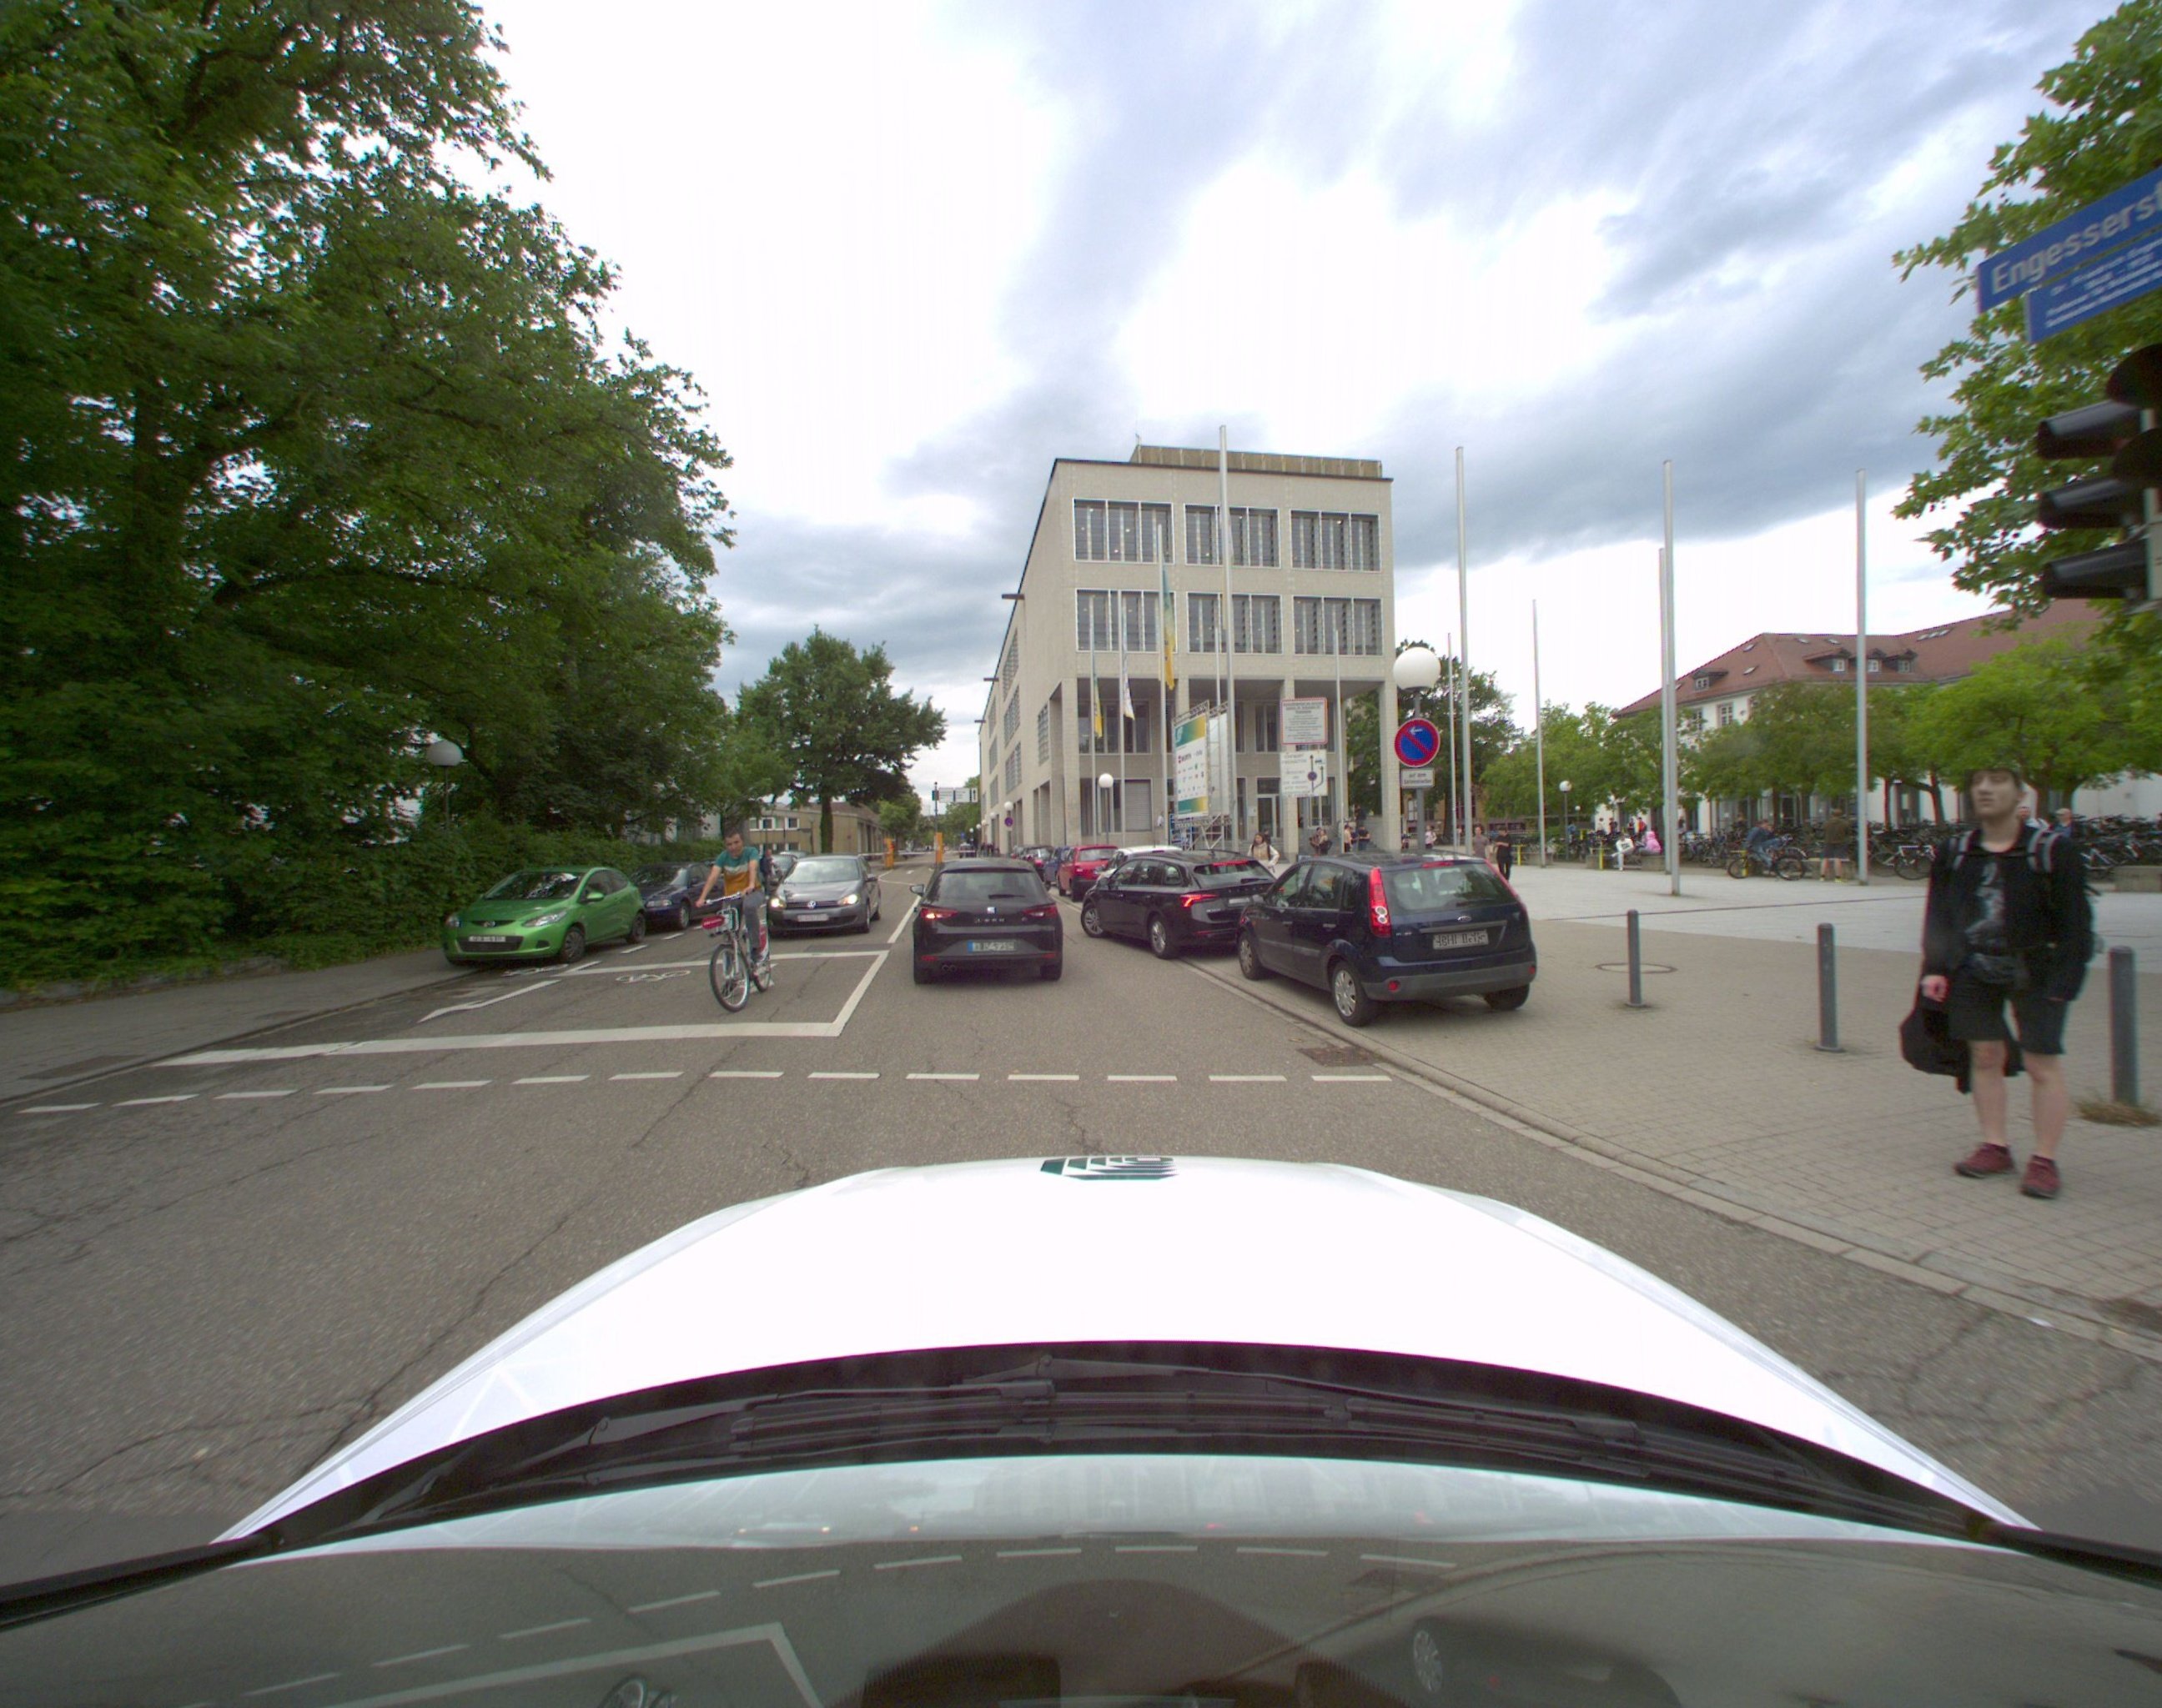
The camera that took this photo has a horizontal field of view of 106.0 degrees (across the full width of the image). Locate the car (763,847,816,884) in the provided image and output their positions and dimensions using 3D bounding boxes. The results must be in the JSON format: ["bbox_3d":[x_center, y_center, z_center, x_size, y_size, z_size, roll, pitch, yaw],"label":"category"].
[{"bbox_3d":[-13.592,0.475,38.185,1.716,1.586,3.864,-1,1,-10],"label":"car"}]

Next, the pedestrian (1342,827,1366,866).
[{"bbox_3d":[12.437,-0.344,37.124,0.722,1.785,0.731,-2,0,-23],"label":"pedestrian"}]

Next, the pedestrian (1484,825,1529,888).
[{"bbox_3d":[11.982,0.051,22.946,0.697,1.712,0.900,-3,4,-34],"label":"pedestrian"}]

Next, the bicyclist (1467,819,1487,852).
[{"bbox_3d":[20.164,-0.952,41.476,0.865,1.641,0.873,0,1,25],"label":"bicyclist"}]

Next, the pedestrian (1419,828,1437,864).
[{"bbox_3d":[16.025,-0.385,37.606,0.728,1.640,0.937,1,3,25],"label":"pedestrian"}]

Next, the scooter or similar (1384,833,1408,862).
[{"bbox_3d":[15.825,-0.337,40.895,1.499,1.369,0.401,-2,3,-38],"label":"scooter or similar"}]

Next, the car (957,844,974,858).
[{"bbox_3d":[-14.583,-0.403,102.619,1.993,1.622,4.414,-3,1,-10],"label":"car"}]

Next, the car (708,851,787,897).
[{"bbox_3d":[-11.826,0.654,29.121,1.762,1.471,3.812,-2,1,-10],"label":"car"}]

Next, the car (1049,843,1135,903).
[{"bbox_3d":[0.216,0.463,23.602,1.712,1.473,4.260,-4,1,-10],"label":"car"}]

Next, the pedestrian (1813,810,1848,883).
[{"bbox_3d":[19.260,-0.189,20.943,0.505,1.833,0.677,-1,0,30],"label":"pedestrian"}]

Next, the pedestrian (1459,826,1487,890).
[{"bbox_3d":[11.196,0.097,23.276,0.635,1.807,0.652,2,3,29],"label":"pedestrian"}]

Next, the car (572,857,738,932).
[{"bbox_3d":[-9.438,0.817,18.465,1.795,1.408,4.328,-2,1,-6],"label":"car"}]

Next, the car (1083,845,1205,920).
[{"bbox_3d":[1.287,0.549,18.382,1.860,1.453,3.846,-1,1,-10],"label":"car"}]

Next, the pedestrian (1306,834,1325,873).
[{"bbox_3d":[11.038,-0.018,38.343,0.590,1.840,0.618,-1,0,-9],"label":"pedestrian"}]

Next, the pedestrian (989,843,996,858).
[{"bbox_3d":[-9.791,-0.404,90.096,0.729,1.698,0.585,0,3,-15],"label":"pedestrian"}]

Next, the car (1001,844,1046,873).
[{"bbox_3d":[-3.219,0.245,44.827,1.993,1.452,4.906,-2,0,-10],"label":"car"}]

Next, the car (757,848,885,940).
[{"bbox_3d":[-4.929,0.668,15.981,1.783,1.497,4.154,-2,1,-10],"label":"car"}]

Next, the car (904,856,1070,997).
[{"bbox_3d":[-1.372,0.783,10.925,1.783,1.419,4.115,-1,1,-10],"label":"car"}]

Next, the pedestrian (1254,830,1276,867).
[{"bbox_3d":[8.562,-0.264,37.917,0.755,1.669,0.703,-1,0,-9],"label":"pedestrian"}]

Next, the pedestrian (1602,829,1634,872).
[{"bbox_3d":[18.281,-0.123,27.726,0.677,1.413,0.760,-1,0,-41],"label":"pedestrian"}]

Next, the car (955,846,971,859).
[{"bbox_3d":[-16.647,-0.225,114.861,1.994,1.782,4.413,-3,1,-10],"label":"car"}]

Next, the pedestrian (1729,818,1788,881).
[{"bbox_3d":[19.194,-0.108,23.087,0.852,1.704,0.963,2,-3,-18],"label":"pedestrian"}]

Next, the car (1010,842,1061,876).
[{"bbox_3d":[-2.247,0.214,39.091,1.818,1.443,4.504,-3,1,-11],"label":"car"}]

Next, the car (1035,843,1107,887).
[{"bbox_3d":[-0.442,0.366,29.219,1.697,1.411,4.357,-2,1,-13],"label":"car"}]

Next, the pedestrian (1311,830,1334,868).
[{"bbox_3d":[11.098,-0.242,37.452,0.776,1.715,0.602,-1,0,-9],"label":"pedestrian"}]

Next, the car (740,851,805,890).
[{"bbox_3d":[-12.526,0.612,33.294,1.764,1.411,3.993,-1,1,-11],"label":"car"}]

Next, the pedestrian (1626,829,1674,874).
[{"bbox_3d":[18.742,-0.087,26.821,0.852,1.420,0.962,-2,0,-21],"label":"pedestrian"}]

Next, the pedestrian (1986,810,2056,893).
[{"bbox_3d":[20.048,-0.059,17.374,0.670,1.715,0.677,-2,0,-4],"label":"pedestrian"}]

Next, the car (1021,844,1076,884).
[{"bbox_3d":[-1.425,0.364,34.287,1.847,1.441,4.406,-1,2,-9],"label":"car"}]

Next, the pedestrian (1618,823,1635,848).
[{"bbox_3d":[37.157,-1.248,55.448,0.661,1.641,0.691,-1,0,-12],"label":"pedestrian"}]

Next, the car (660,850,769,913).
[{"bbox_3d":[-10.652,0.706,24.012,1.798,1.560,4.515,-2,1,-10],"label":"car"}]

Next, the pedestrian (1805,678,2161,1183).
[{"bbox_3d":[3.921,0.301,3.604,0.785,1.952,0.761,-1,0,14],"label":"pedestrian"}]

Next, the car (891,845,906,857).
[{"bbox_3d":[-24.287,-0.387,108.434,1.771,1.601,3.986,-1,1,-11],"label":"car"}]

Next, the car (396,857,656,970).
[{"bbox_3d":[-8.826,0.830,13.487,1.796,1.469,4.237,-2,1,-8],"label":"car"}]

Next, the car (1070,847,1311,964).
[{"bbox_3d":[1.469,0.641,12.838,1.867,1.401,4.448,-3,2,-20],"label":"car"}]

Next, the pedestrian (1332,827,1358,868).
[{"bbox_3d":[11.677,-0.308,36.030,0.765,1.785,0.731,-1,0,-23],"label":"pedestrian"}]

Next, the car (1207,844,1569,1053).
[{"bbox_3d":[2.734,0.715,8.358,1.622,1.501,4.093,-3,0,-9],"label":"car"}]

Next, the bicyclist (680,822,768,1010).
[{"bbox_3d":[-3.628,0.586,8.343,0.659,1.779,0.978,-2,0,-17],"label":"bicyclist"}]

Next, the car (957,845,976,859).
[{"bbox_3d":[-13.837,-0.215,98.167,1.994,1.622,4.412,-2,0,-10],"label":"car"}]

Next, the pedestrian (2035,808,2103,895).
[{"bbox_3d":[20.140,-0.057,16.609,0.582,1.715,0.657,-1,0,-4],"label":"pedestrian"}]
